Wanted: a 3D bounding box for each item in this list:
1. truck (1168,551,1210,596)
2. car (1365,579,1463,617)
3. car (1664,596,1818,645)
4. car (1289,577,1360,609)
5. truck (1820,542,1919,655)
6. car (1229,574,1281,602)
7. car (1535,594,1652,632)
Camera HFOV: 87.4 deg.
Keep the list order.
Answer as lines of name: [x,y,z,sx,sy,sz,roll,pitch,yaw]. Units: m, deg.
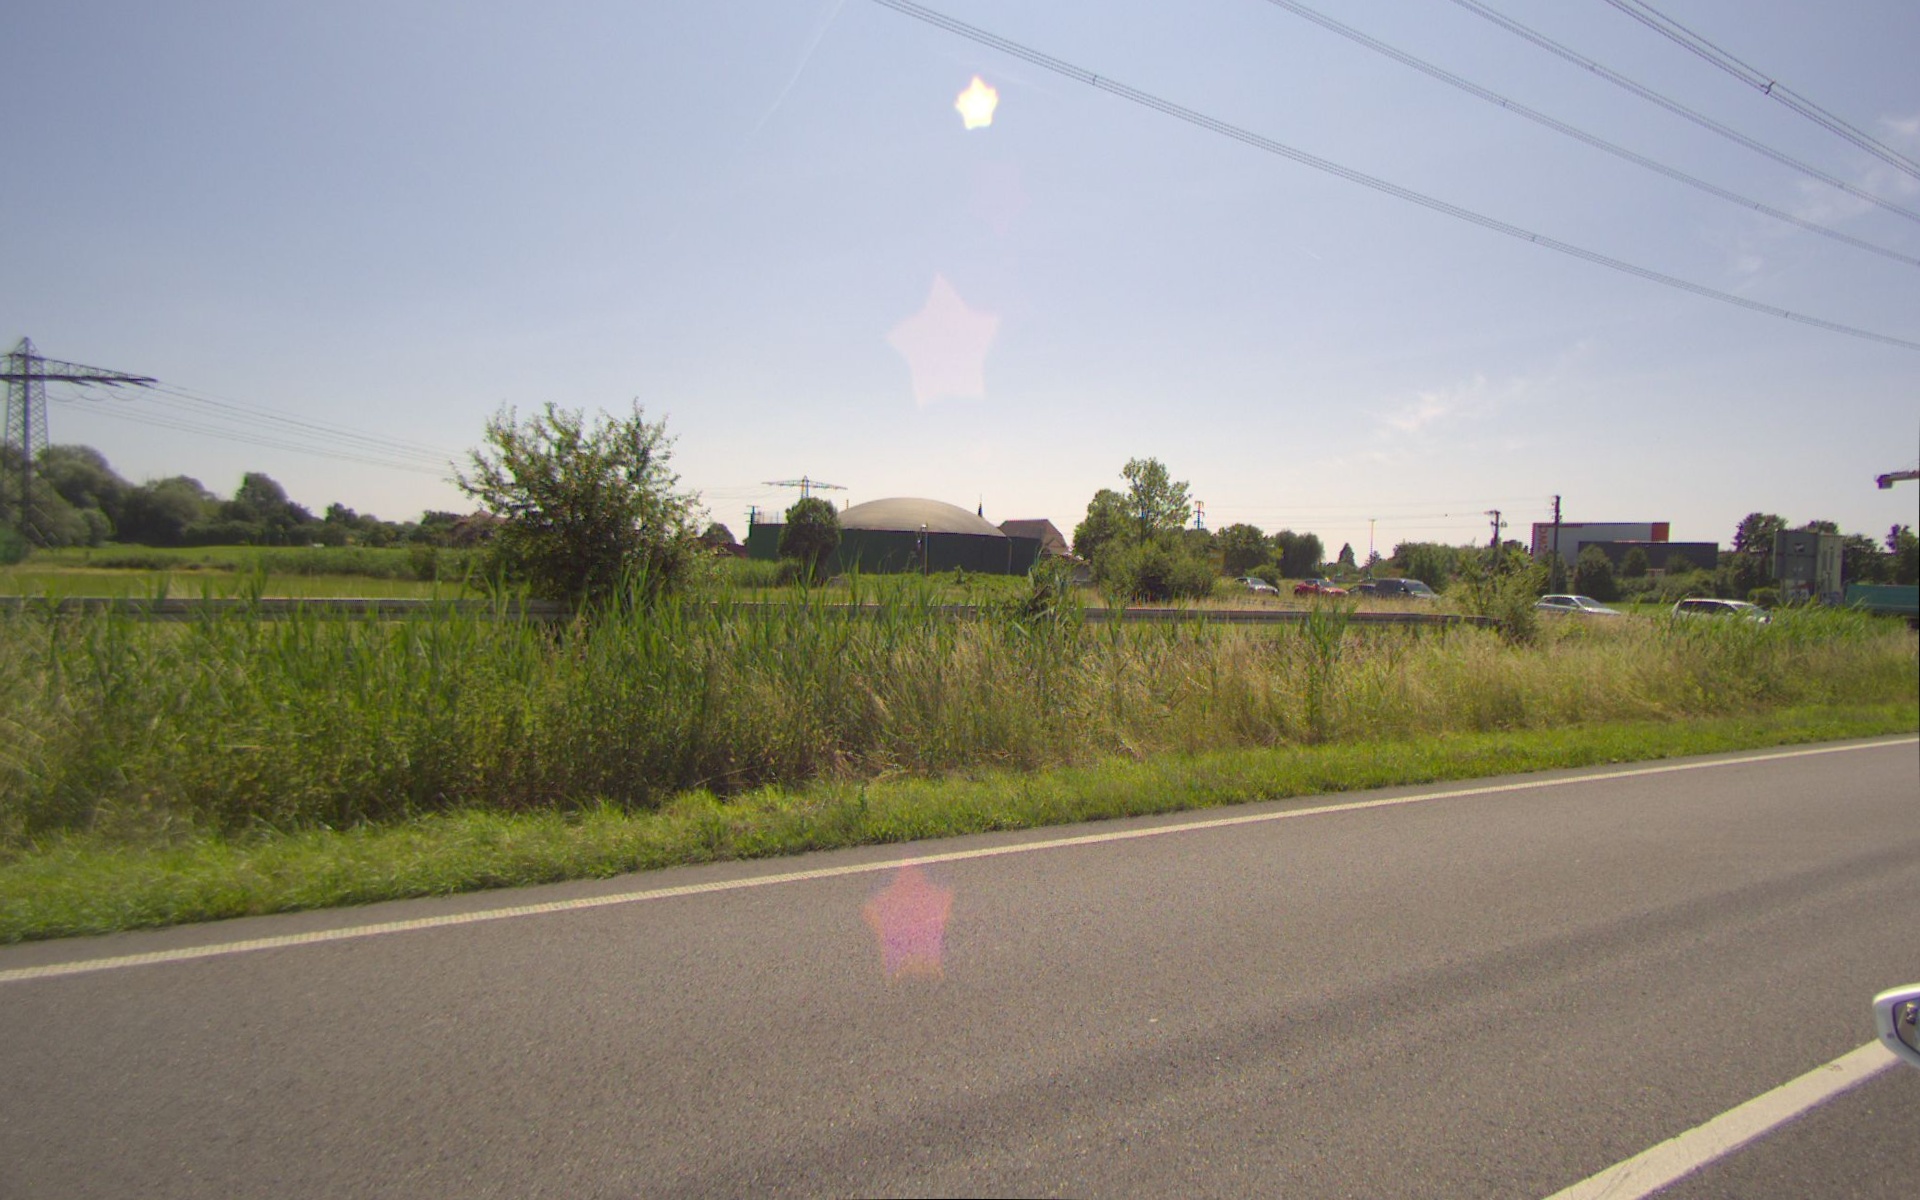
truck: [25.930,-2.906,114.247,3.615,4.708,13.247,2,1,9]
car: [25.151,-0.149,55.835,2.056,1.893,4.929,0,2,-20]
car: [30.753,0.760,39.742,1.935,1.634,4.542,1,2,-14]
car: [23.061,-0.480,63.697,1.885,1.874,4.466,1,2,-17]
truck: [33.875,0.062,33.129,2.465,3.785,7.876,1,3,-26]
car: [21.212,-0.907,72.416,1.633,1.927,3.984,1,1,-18]
car: [28.627,0.551,45.568,1.691,1.490,4.428,1,1,-17]
